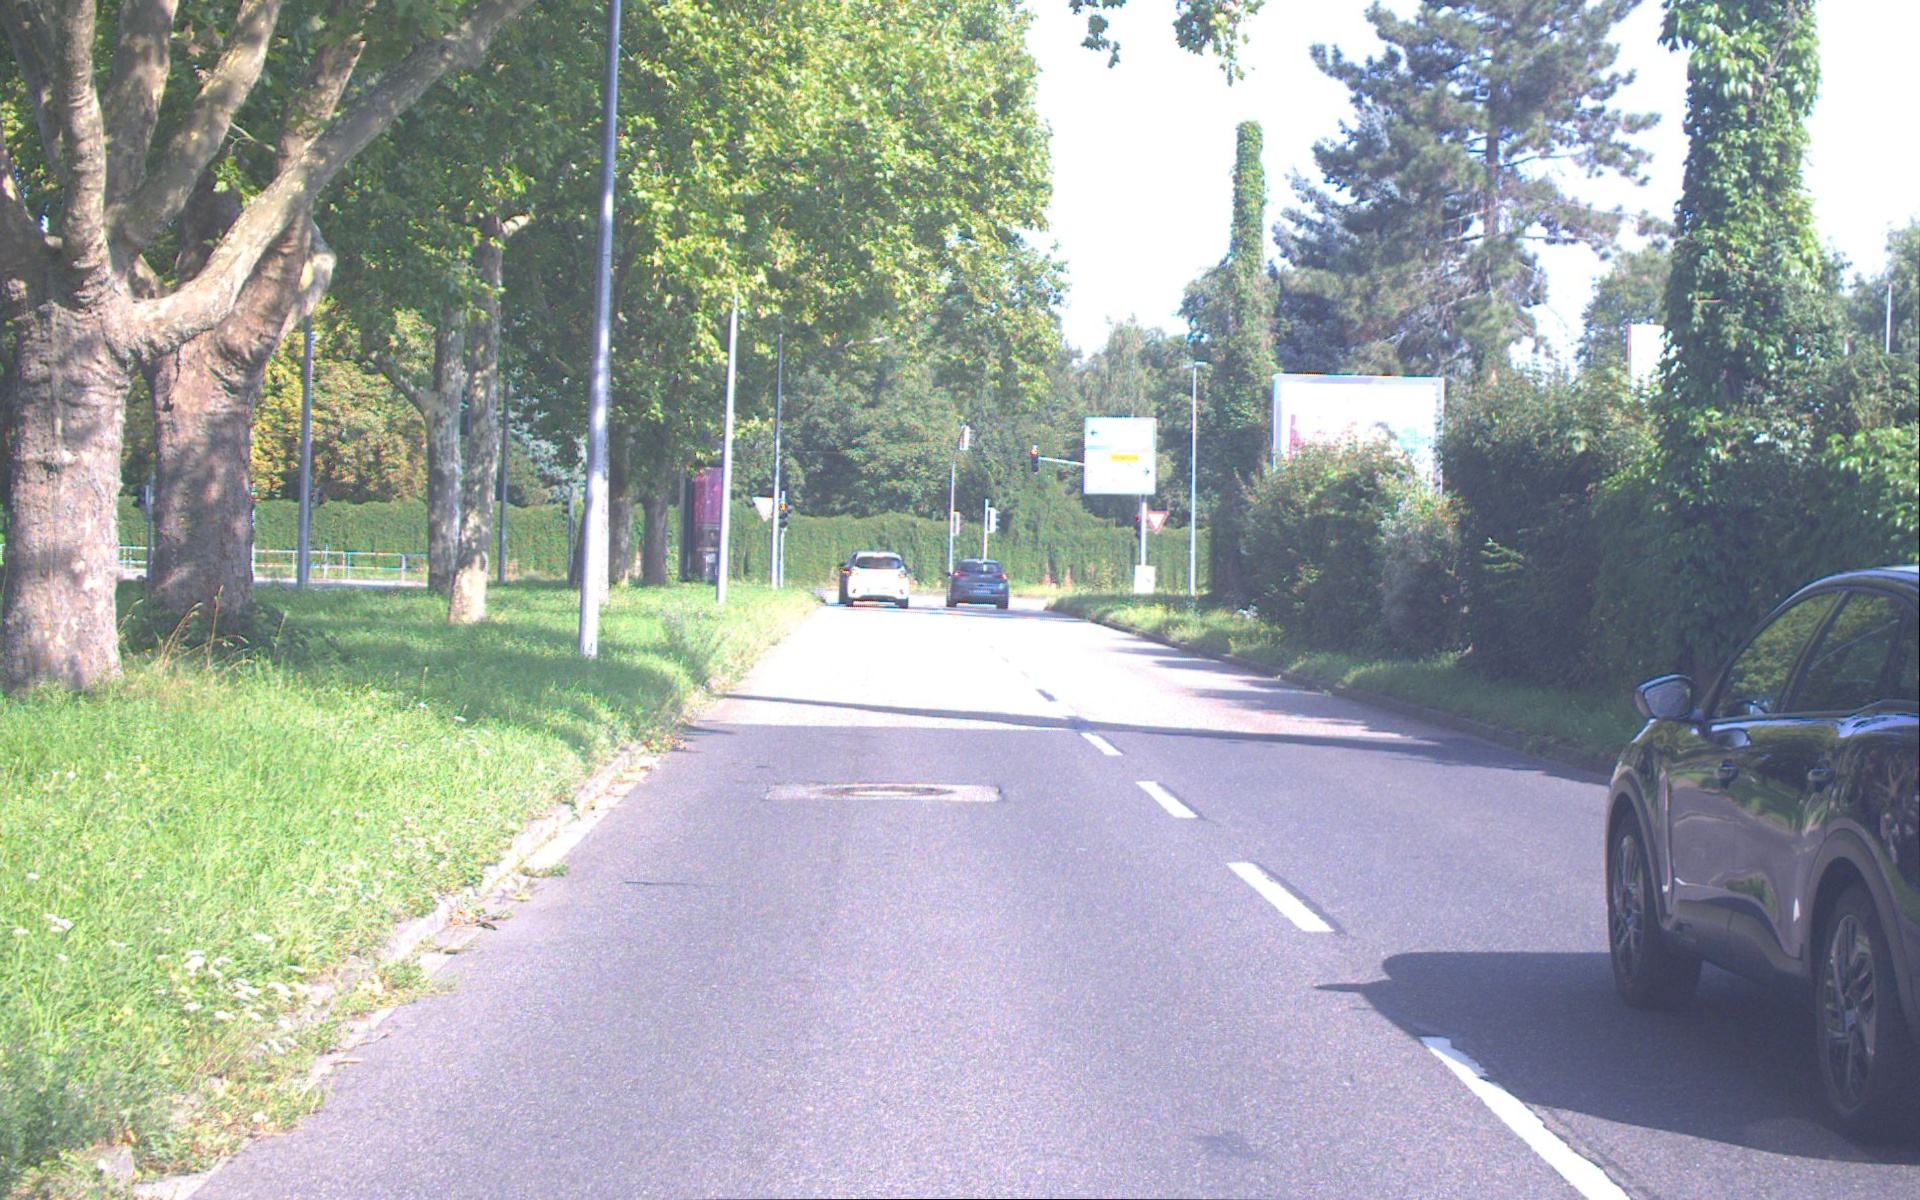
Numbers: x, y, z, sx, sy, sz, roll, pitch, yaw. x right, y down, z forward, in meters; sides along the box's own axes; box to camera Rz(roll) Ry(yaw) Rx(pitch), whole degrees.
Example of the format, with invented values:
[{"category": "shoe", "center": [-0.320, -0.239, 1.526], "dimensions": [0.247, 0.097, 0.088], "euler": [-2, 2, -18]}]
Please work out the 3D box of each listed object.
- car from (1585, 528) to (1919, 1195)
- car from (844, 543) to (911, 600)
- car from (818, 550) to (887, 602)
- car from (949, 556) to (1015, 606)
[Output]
[{"category": "car", "center": [3.090, 0.604, 10.195], "dimensions": [1.645, 1.583, 4.255], "euler": [1, 1, -1]}, {"category": "car", "center": [-2.227, -0.785, 93.565], "dimensions": [1.687, 1.457, 4.000], "euler": [2, 1, 0]}, {"category": "car", "center": [-3.158, -0.727, 102.031], "dimensions": [1.687, 1.457, 3.849], "euler": [2, 1, 3]}, {"category": "car", "center": [0.638, -0.588, 102.412], "dimensions": [1.797, 1.396, 4.000], "euler": [2, 1, -2]}]
